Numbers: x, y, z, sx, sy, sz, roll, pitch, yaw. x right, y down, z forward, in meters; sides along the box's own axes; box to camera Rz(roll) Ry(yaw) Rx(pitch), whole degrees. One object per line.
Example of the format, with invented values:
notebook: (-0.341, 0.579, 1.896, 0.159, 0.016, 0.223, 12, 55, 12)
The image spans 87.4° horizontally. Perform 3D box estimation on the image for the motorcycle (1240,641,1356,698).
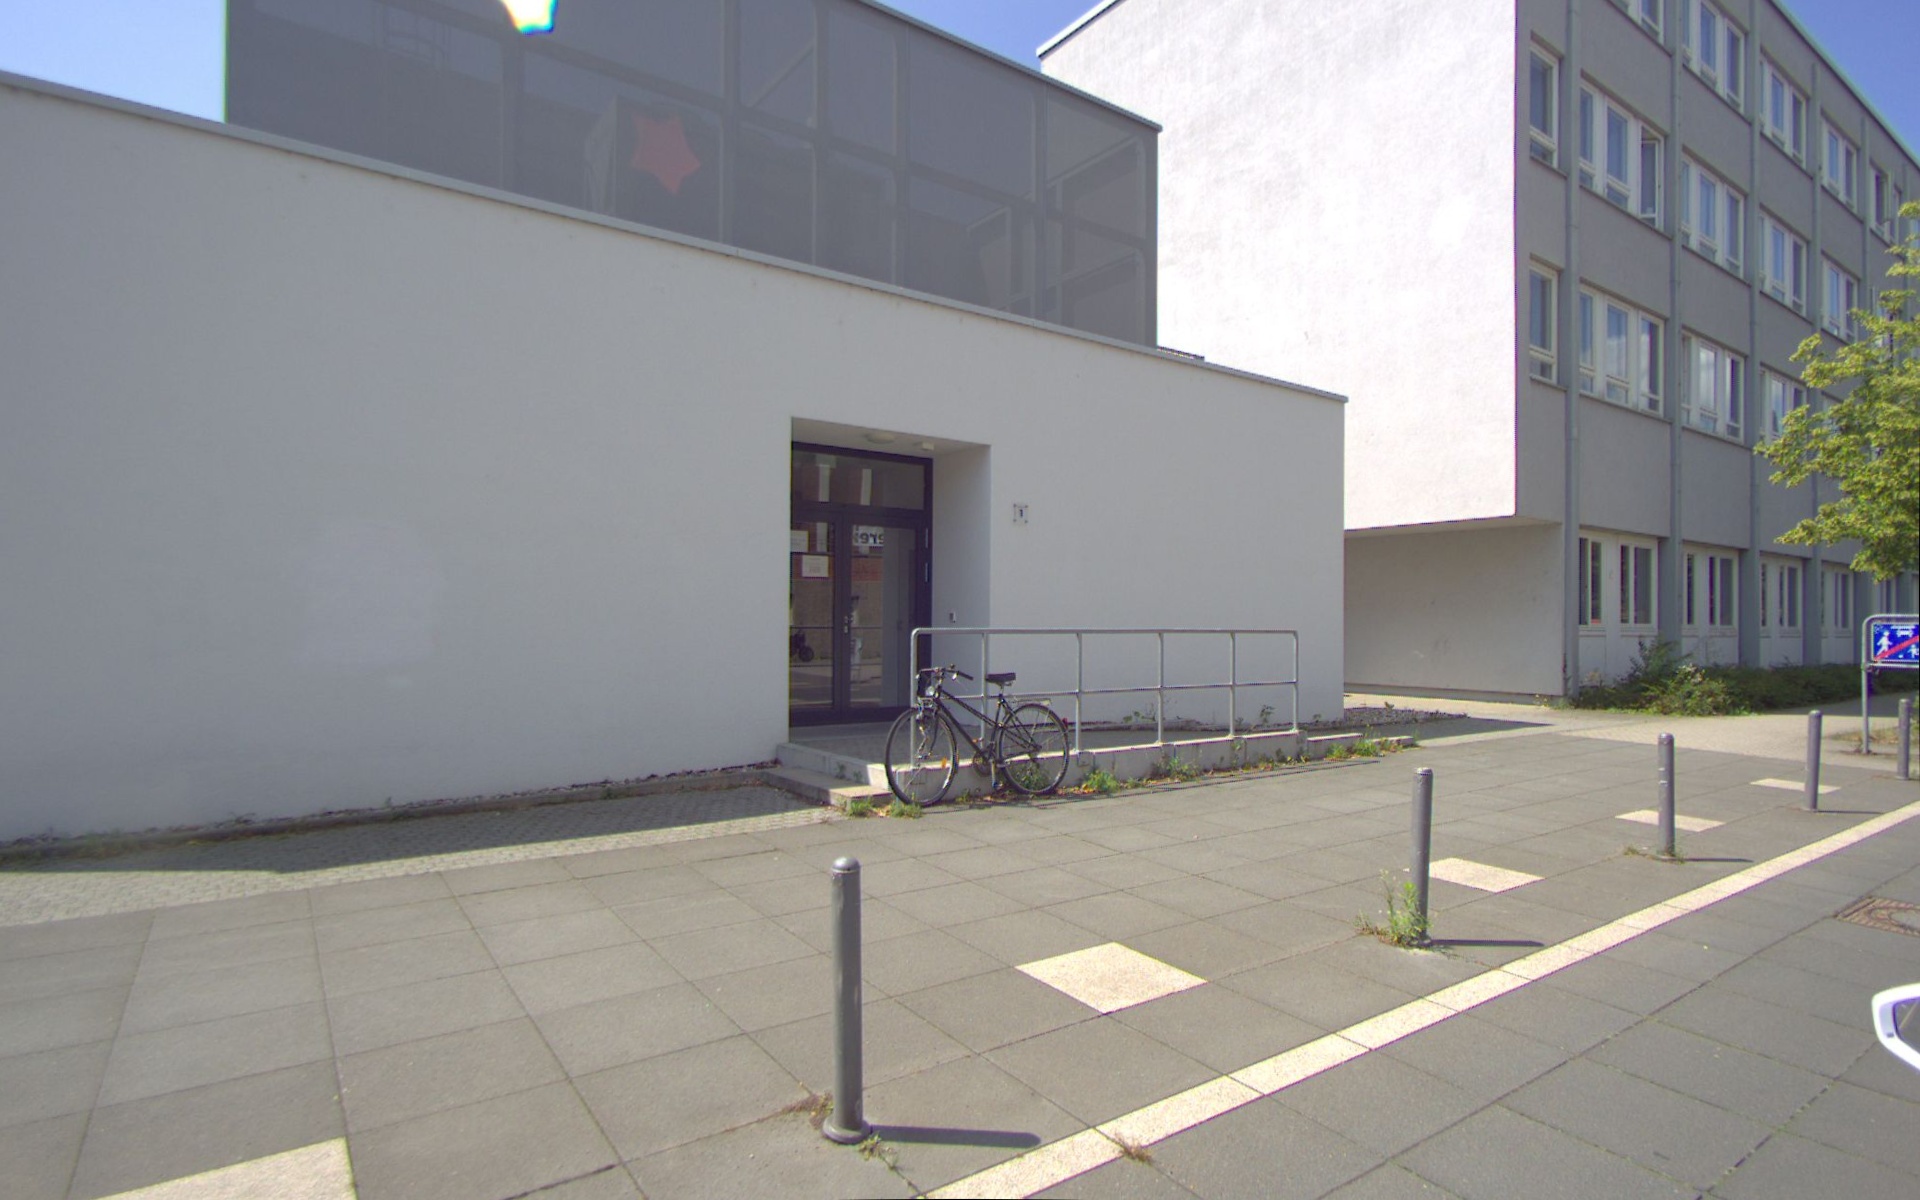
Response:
motorcycle: (6.837, 1.386, 20.409, 0.873, 1.056, 2.163, 1, -2, -34)

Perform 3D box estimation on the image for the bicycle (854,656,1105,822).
bicycle: (0.176, 0.975, 7.484, 1.877, 1.075, 0.540, 1, -1, -31)
